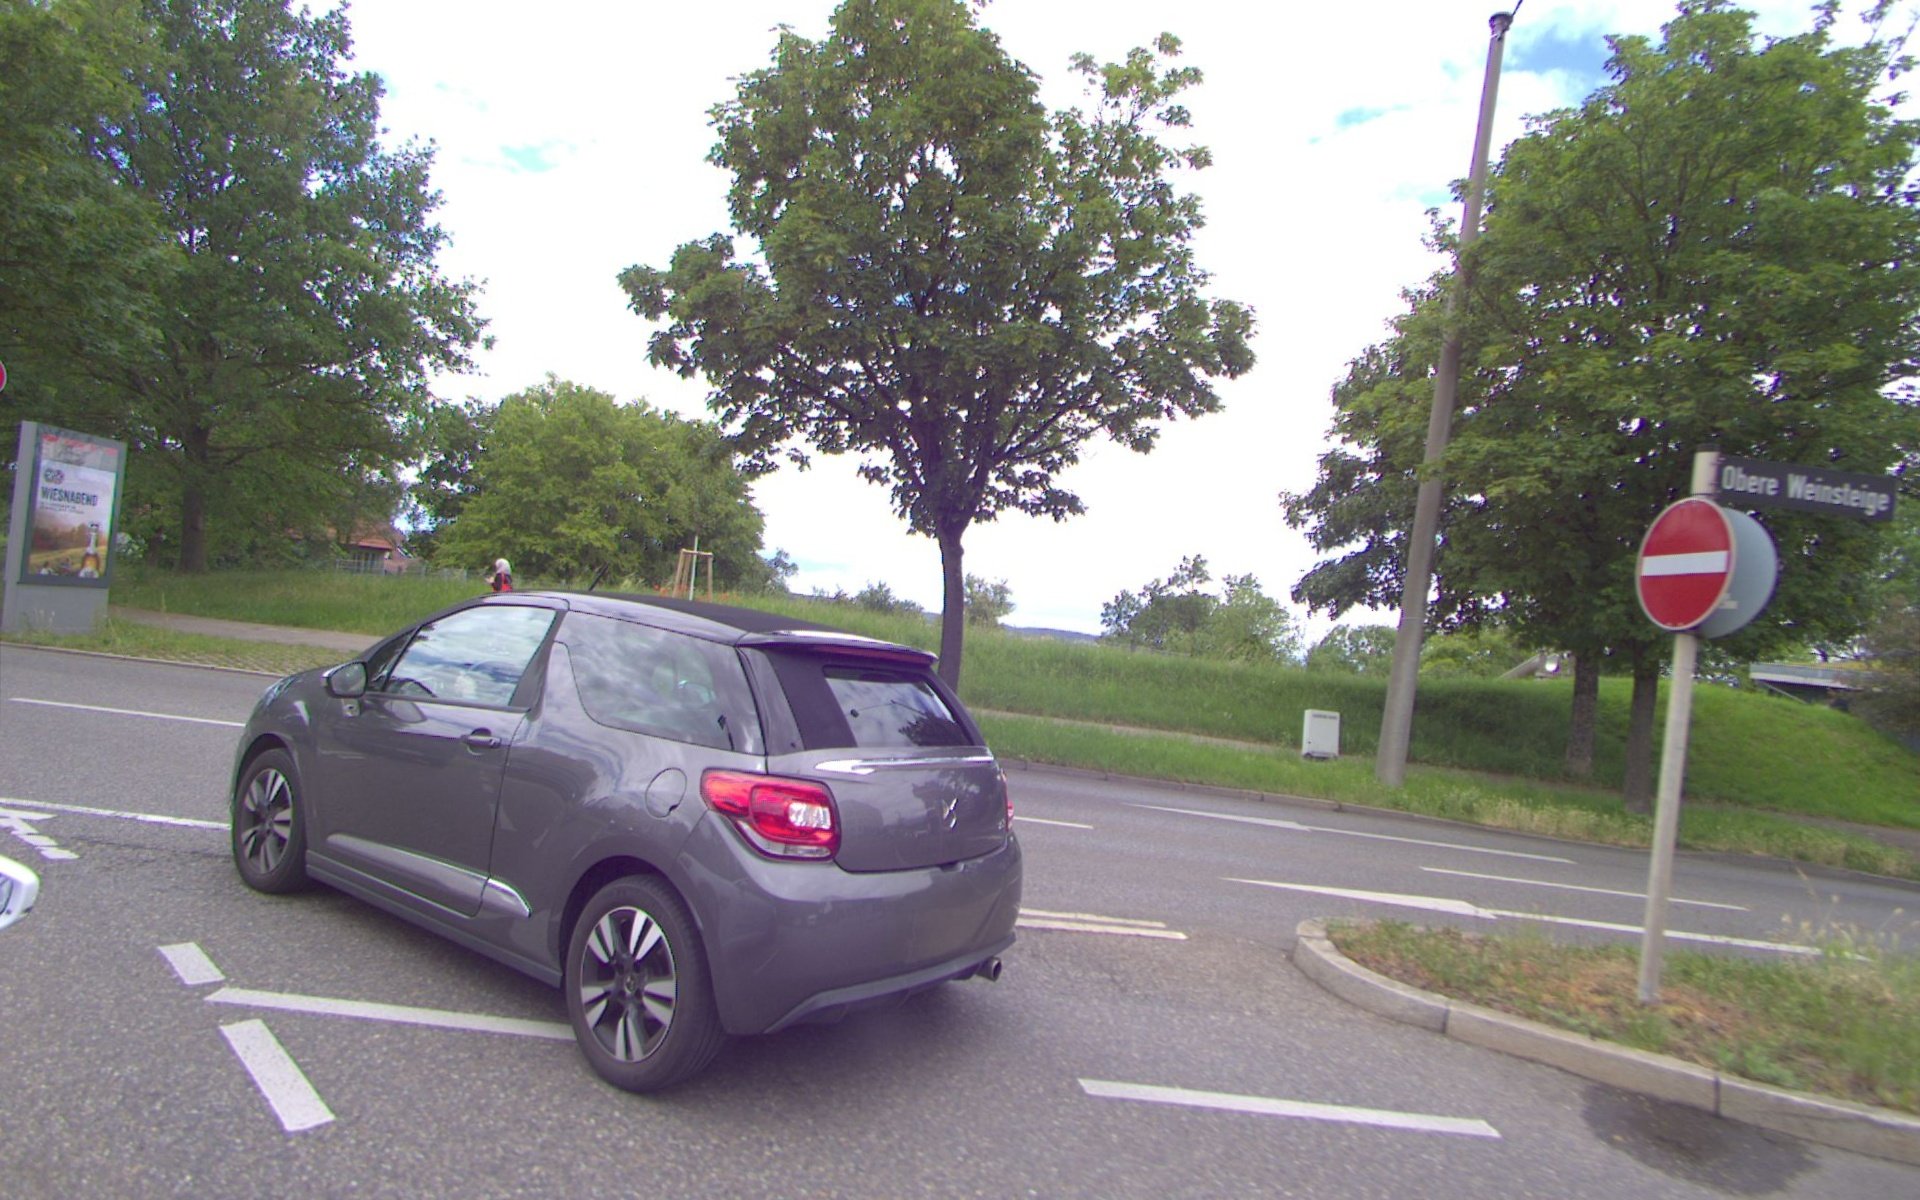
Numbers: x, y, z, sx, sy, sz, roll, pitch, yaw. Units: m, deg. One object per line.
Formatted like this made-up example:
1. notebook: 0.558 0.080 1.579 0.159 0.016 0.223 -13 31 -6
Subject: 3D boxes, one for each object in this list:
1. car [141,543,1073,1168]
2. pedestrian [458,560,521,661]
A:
1. car: -1.733 0.693 4.459 3.997 1.477 1.703 5 -3 33
2. pedestrian: -8.038 0.175 17.202 0.689 1.626 0.541 7 4 -3
